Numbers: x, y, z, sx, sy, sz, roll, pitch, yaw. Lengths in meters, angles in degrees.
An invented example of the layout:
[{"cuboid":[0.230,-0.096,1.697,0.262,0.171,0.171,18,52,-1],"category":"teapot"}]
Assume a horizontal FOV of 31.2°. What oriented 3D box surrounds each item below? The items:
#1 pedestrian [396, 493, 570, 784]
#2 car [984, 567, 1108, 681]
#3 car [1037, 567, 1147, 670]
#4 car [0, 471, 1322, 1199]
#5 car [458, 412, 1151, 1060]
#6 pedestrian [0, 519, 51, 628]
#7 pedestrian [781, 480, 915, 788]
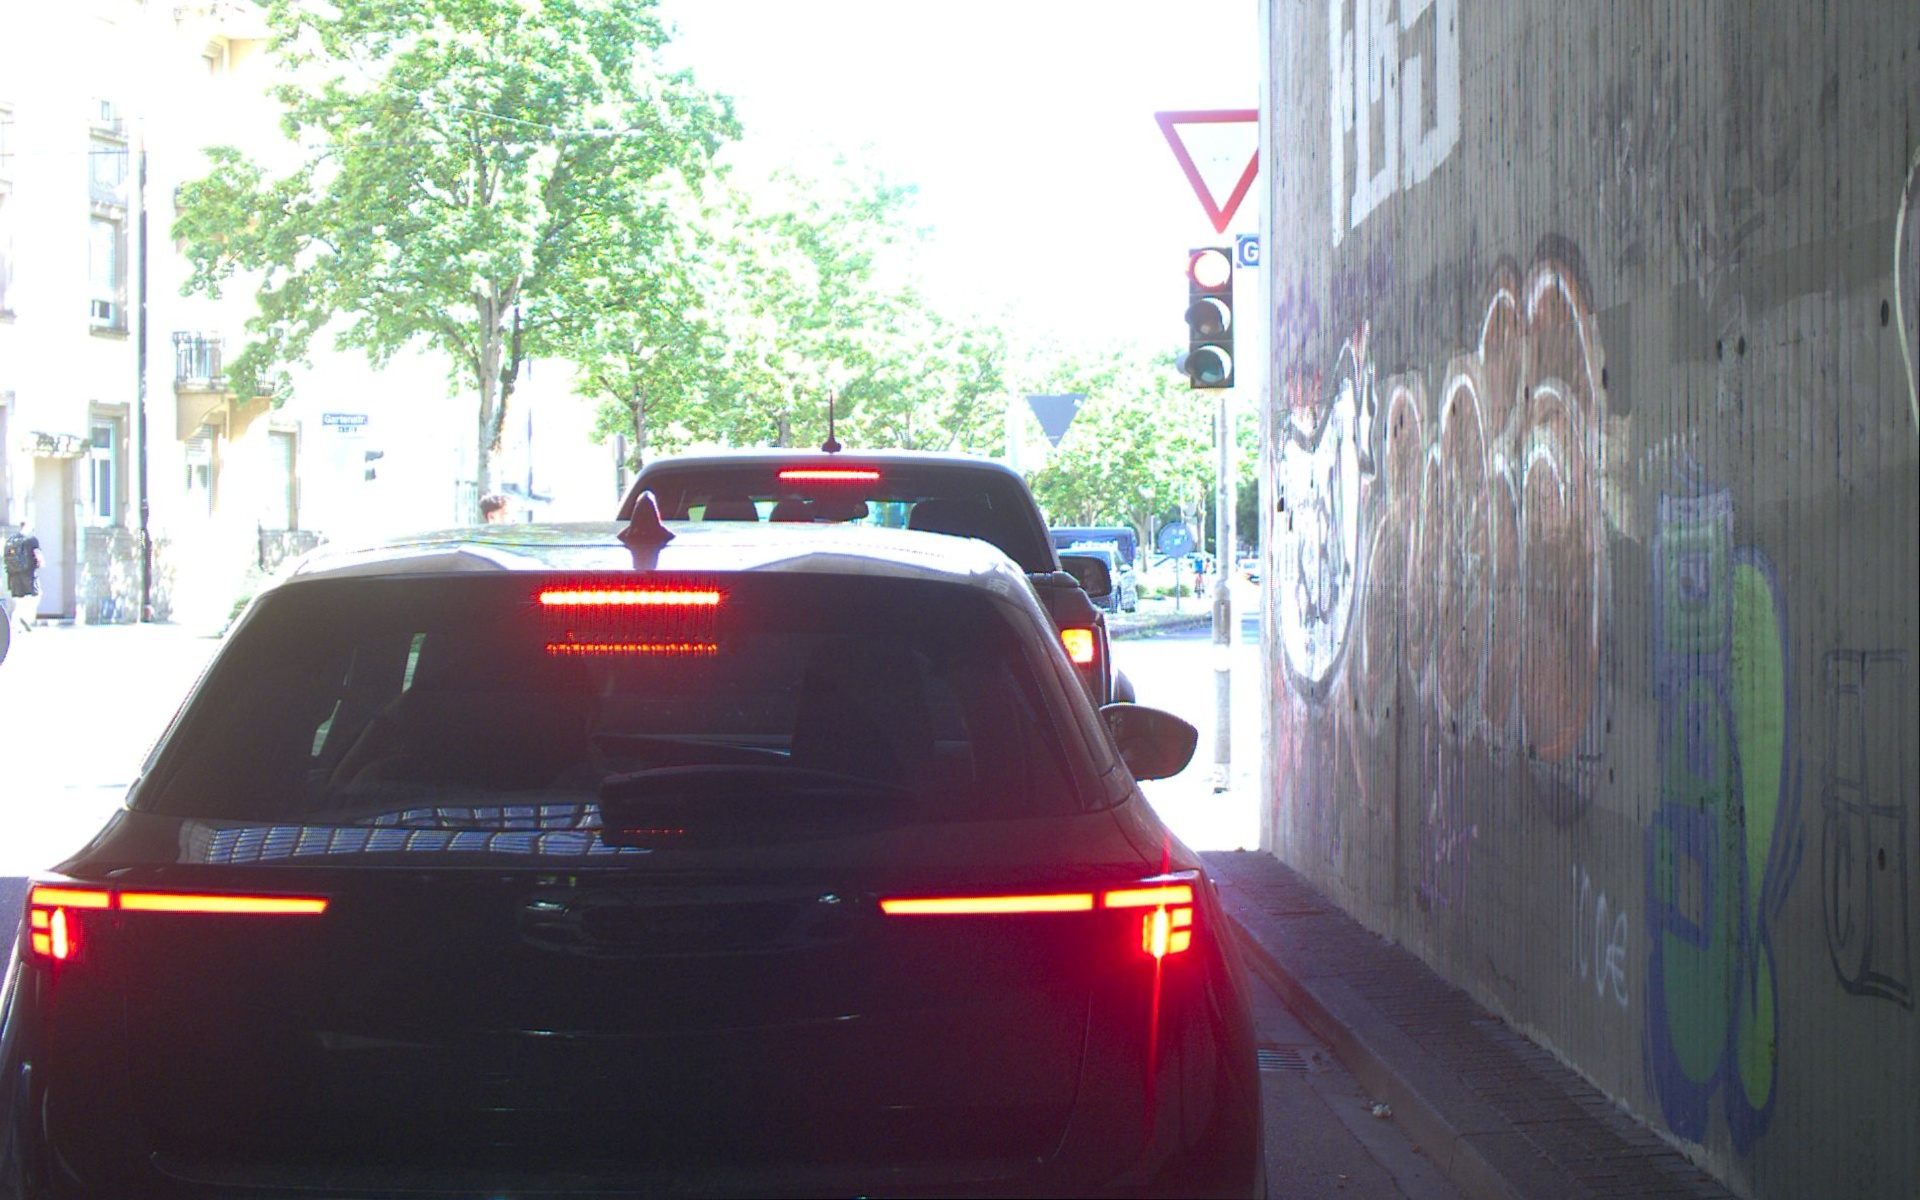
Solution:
[{"cuboid":[-2.947,0.229,21.325,0.929,1.756,0.794,1,0,1],"category":"pedestrian"},{"cuboid":[1.588,0.405,62.288,1.994,1.963,4.163,1,1,5],"category":"car"},{"cuboid":[2.668,0.338,68.507,1.994,1.963,4.163,1,1,5],"category":"car"},{"cuboid":[-0.486,0.568,6.108,1.764,1.566,4.001,1,2,-1],"category":"car"},{"cuboid":[-0.469,0.356,11.953,1.993,1.865,4.000,0,1,-1],"category":"car"},{"cuboid":[-14.255,-0.404,52.266,0.672,1.632,0.740,1,0,-1],"category":"pedestrian"},{"cuboid":[-0.637,0.187,19.858,0.731,1.728,0.874,1,0,-1],"category":"pedestrian"}]
